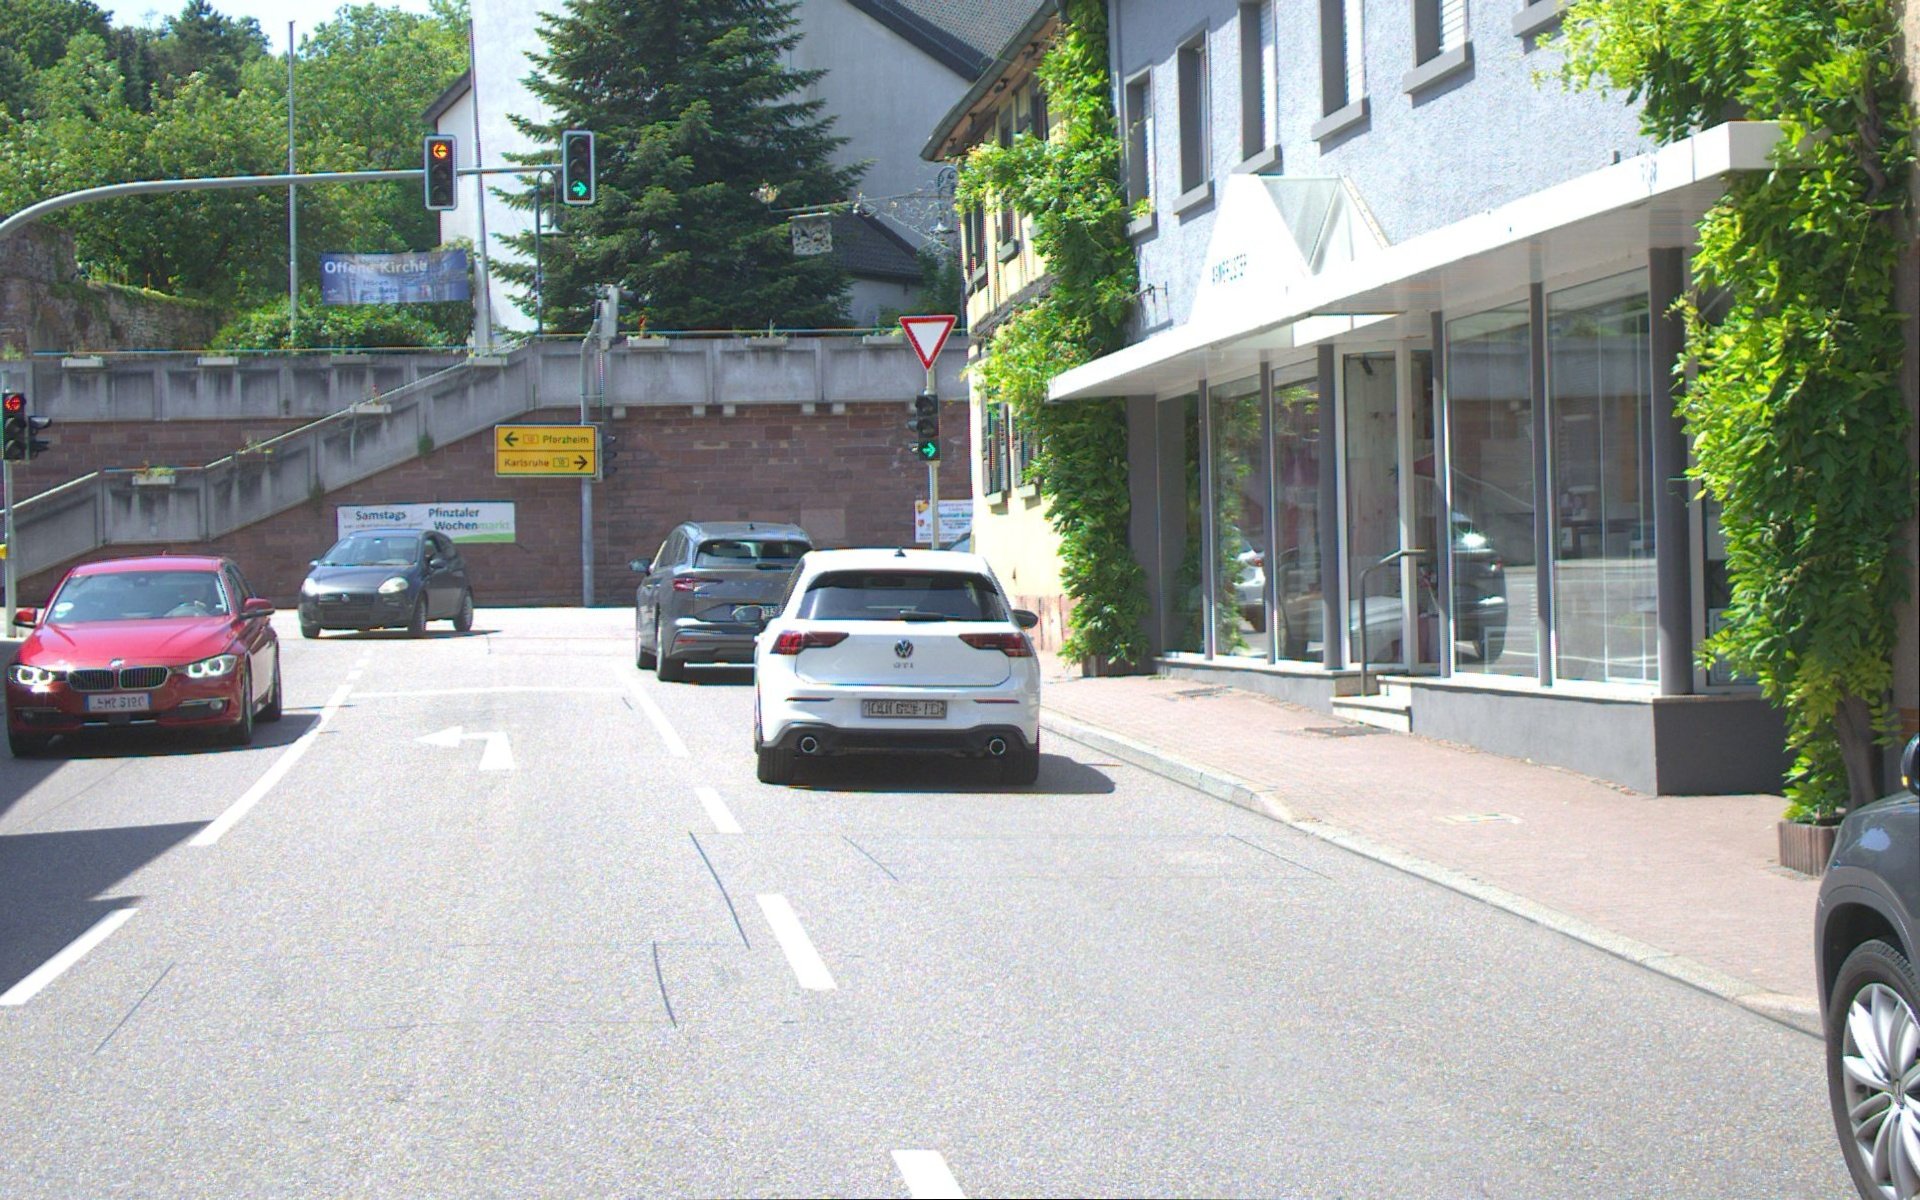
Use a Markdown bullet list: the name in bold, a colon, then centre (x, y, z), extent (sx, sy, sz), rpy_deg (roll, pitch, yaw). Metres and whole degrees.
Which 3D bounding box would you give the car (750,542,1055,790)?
- **car**: centre (-0.459, 0.360, 22.370), extent (1.782, 1.453, 3.863), rpy_deg (-1, 1, -4)

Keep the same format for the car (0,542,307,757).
- **car**: centre (-6.313, 0.325, 27.243), extent (1.717, 1.404, 4.285), rpy_deg (-3, 2, -4)

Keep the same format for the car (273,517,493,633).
- **car**: centre (-8.002, -0.378, 47.987), extent (1.718, 1.418, 3.819), rpy_deg (-2, 2, 12)

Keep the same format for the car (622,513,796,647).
- **car**: centre (-3.372, -0.312, 45.472), extent (1.949, 1.577, 4.327), rpy_deg (-1, 3, -9)

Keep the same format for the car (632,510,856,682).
- **car**: centre (-2.317, -0.095, 35.901), extent (1.949, 1.577, 4.327), rpy_deg (-1, 3, -9)

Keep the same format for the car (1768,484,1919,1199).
- **car**: centre (3.051, 0.577, 6.086), extent (1.993, 1.703, 4.101), rpy_deg (-3, 1, -3)
